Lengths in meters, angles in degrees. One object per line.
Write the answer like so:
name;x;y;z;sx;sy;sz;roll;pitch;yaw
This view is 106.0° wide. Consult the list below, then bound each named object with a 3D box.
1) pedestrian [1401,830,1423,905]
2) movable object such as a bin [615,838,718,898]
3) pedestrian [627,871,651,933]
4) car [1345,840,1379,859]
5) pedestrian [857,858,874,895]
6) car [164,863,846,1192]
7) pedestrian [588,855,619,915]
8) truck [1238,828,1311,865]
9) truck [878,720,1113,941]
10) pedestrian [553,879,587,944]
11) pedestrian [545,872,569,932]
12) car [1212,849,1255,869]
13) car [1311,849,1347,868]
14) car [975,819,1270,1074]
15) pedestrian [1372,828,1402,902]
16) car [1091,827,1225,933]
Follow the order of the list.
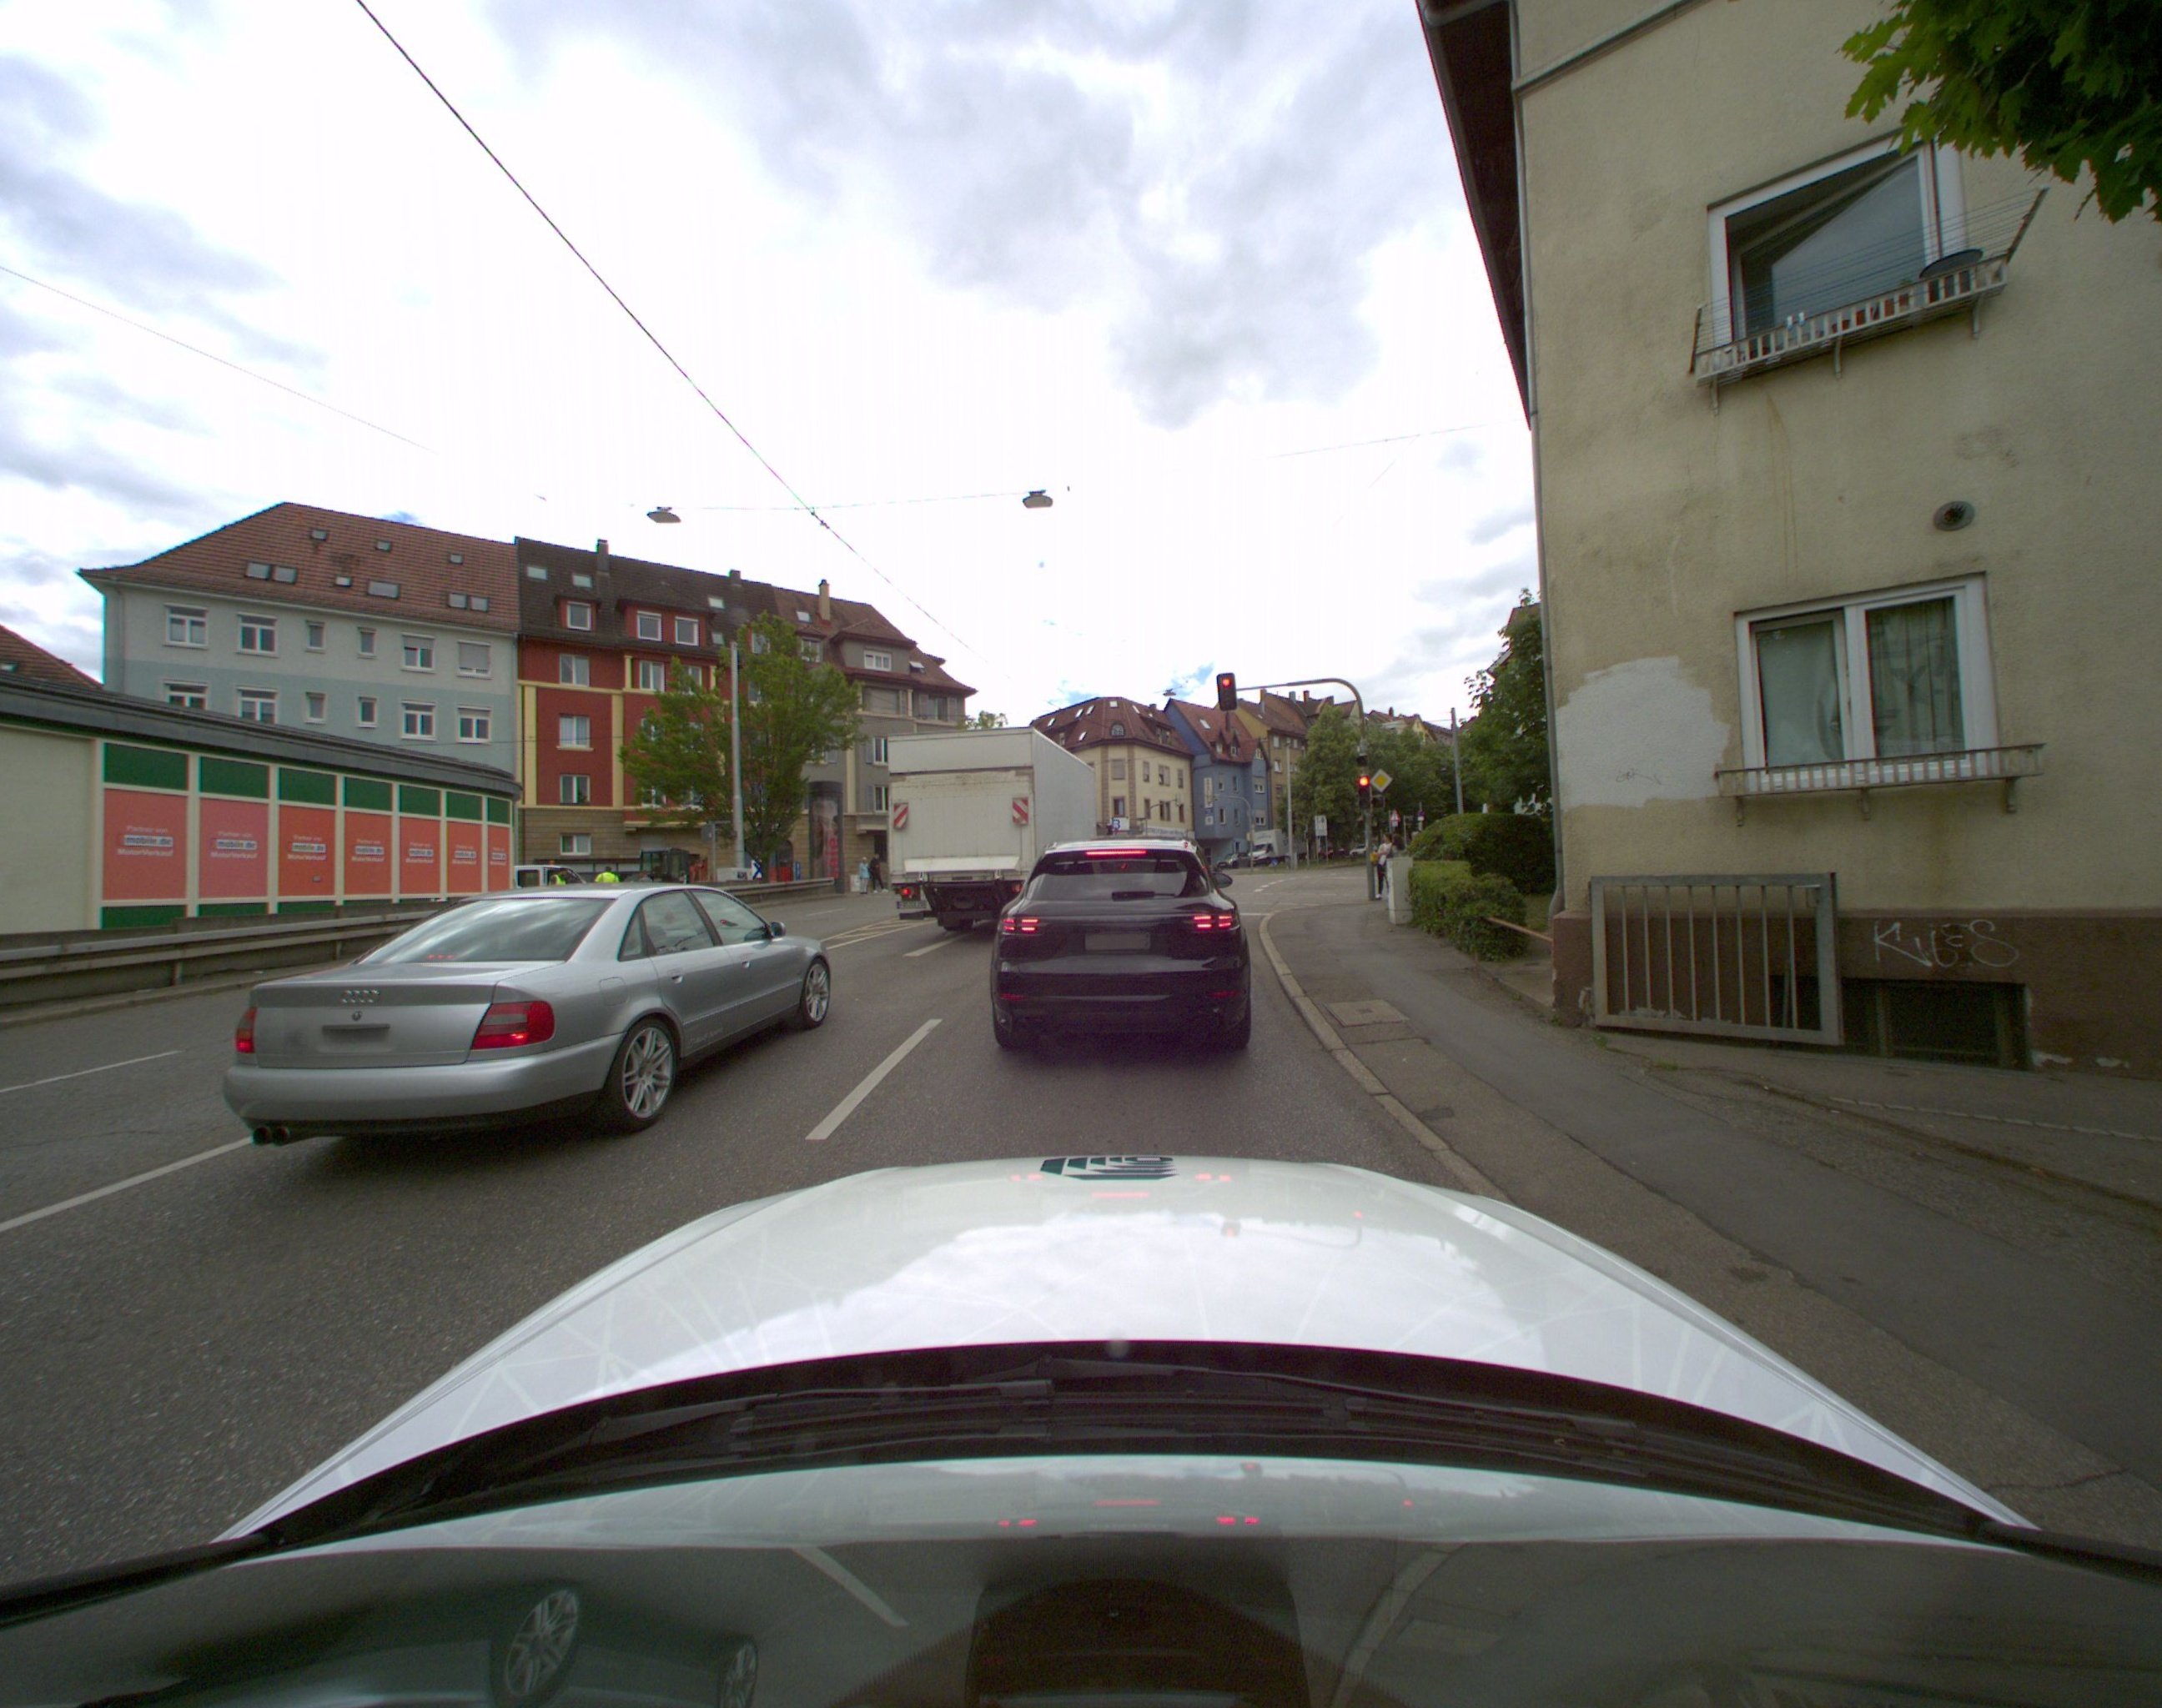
pedestrian;8.163;0.333;20.068;0.459;1.837;0.325;0;-1;16
movable object such as a bin;-13.226;0.439;26.229;1.903;1.771;3.984;1;0;-11
pedestrian;-12.596;1.360;23.217;0.545;1.730;0.587;1;-1;-33
car;31.375;-0.466;90.843;1.975;2.014;4.023;0;-1;45
pedestrian;-9.363;0.967;35.340;0.587;1.567;0.486;1;-1;1
car;-3.223;0.817;5.780;1.689;1.373;4.181;-1;1;3
pedestrian;-14.184;0.912;24.221;0.571;1.761;0.616;1;-1;-8
truck;18.683;-0.645;78.246;2.846;3.340;8.846;0;0;43
truck;-1.285;-0.399;17.380;2.751;3.575;8.088;-1;0;10
pedestrian;-13.709;1.526;21.855;0.562;1.700;0.541;1;-1;-10
pedestrian;-15.531;1.401;24.123;0.479;1.730;0.536;1;-1;-44
car;13.461;0.432;71.775;1.974;1.684;4.025;-2;-1;40
car;26.157;0.467;85.706;1.975;2.014;4.023;0;-1;45
car;0.260;0.607;7.525;1.973;1.684;3.998;-1;0;-1
pedestrian;7.676;0.276;20.451;0.586;1.819;0.530;1;-1;7
car;1.579;0.440;15.164;1.980;1.684;4.014;-1;0;12
